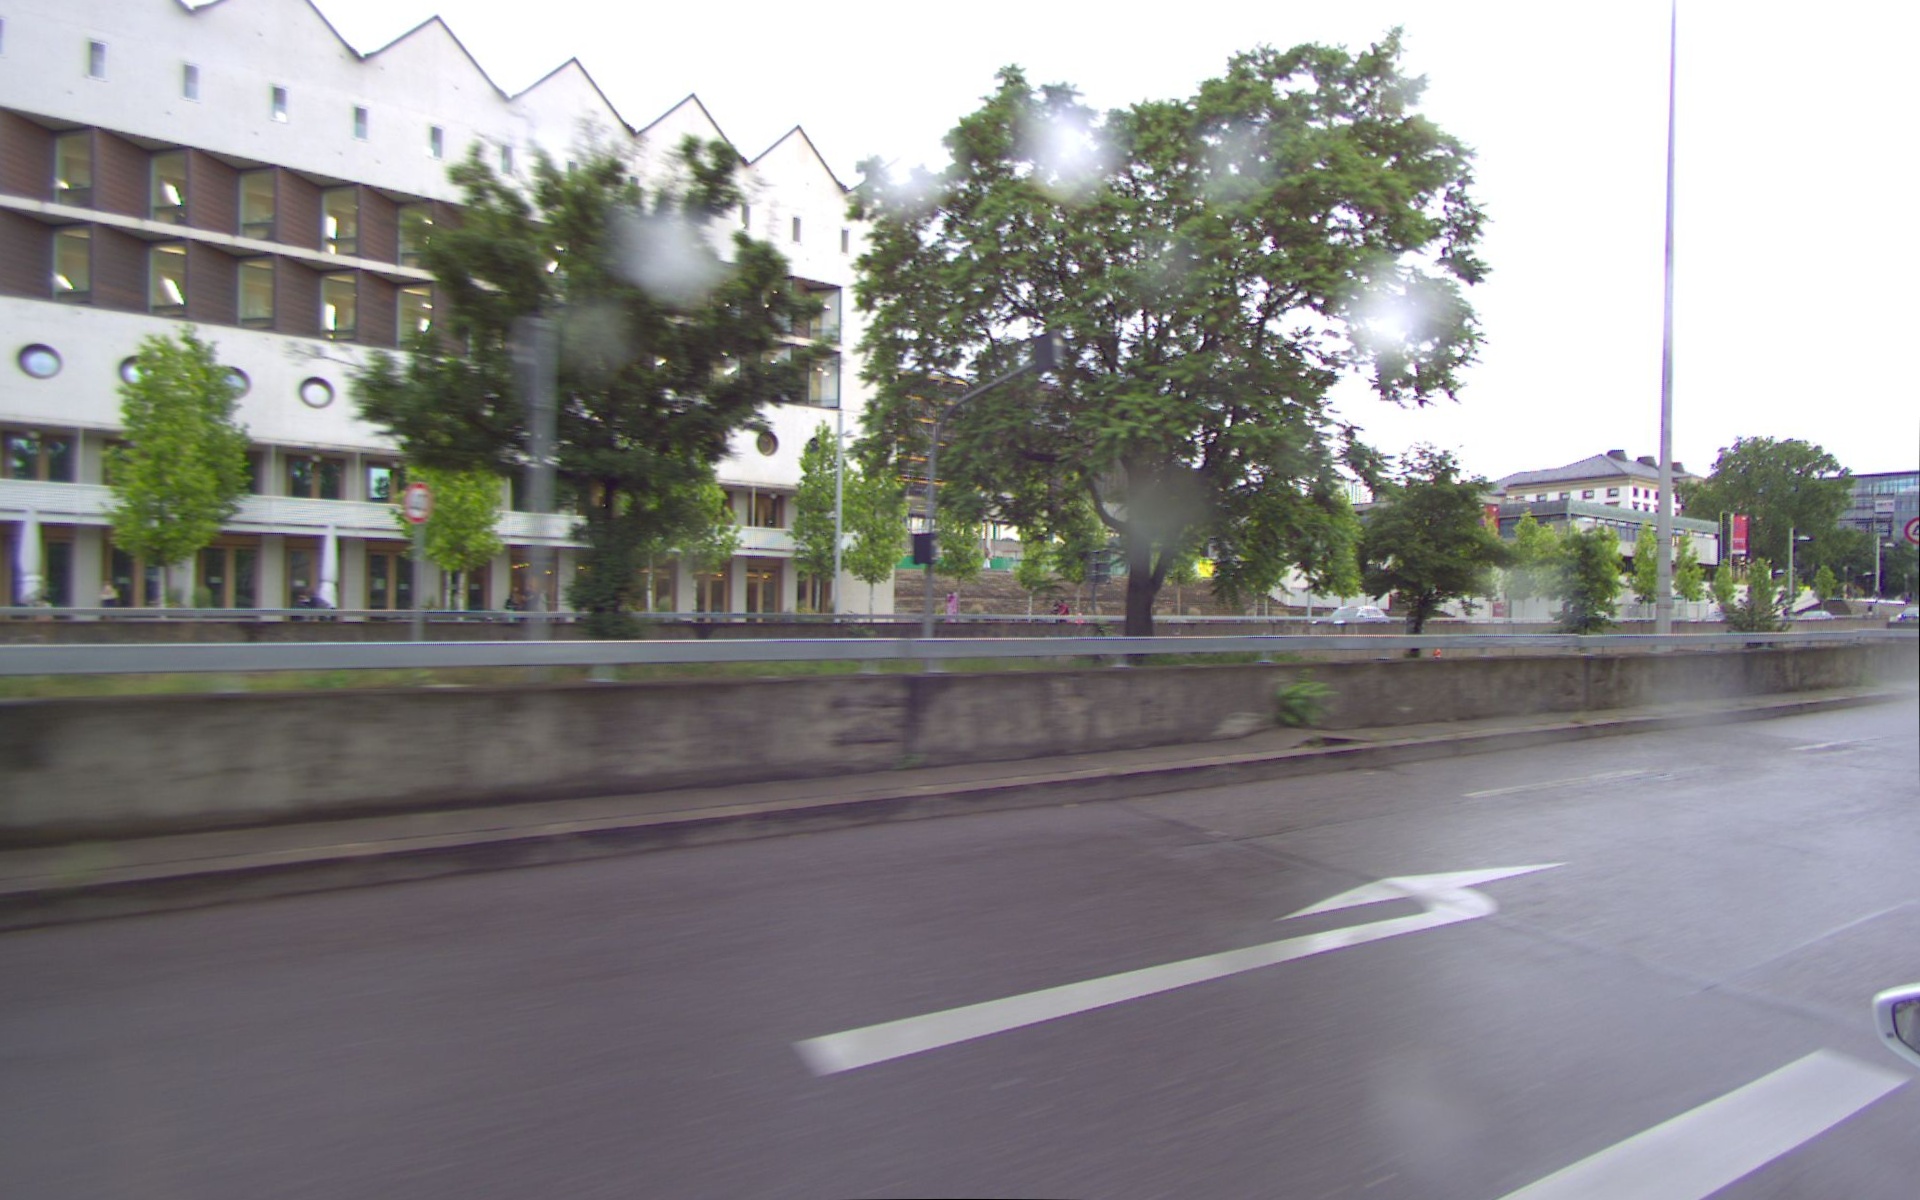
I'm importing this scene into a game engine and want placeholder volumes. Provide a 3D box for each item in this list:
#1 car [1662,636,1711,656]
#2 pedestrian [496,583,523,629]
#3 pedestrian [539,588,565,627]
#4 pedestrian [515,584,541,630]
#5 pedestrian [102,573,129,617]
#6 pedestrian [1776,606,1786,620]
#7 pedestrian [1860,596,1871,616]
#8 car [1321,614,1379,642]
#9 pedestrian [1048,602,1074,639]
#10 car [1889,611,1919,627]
[{"bbox_3d":[45.494,2.893,62.894,3.018,1.144,1.478,2,1,-33],"label":"car"},{"bbox_3d":[-18.735,0.248,41.802,0.687,1.883,0.741,2,1,11],"label":"pedestrian"},{"bbox_3d":[-17.688,0.313,43.582,0.689,1.649,0.738,2,1,32],"label":"pedestrian"},{"bbox_3d":[-18.337,0.295,42.619,0.687,1.883,0.741,2,1,11],"label":"pedestrian"},{"bbox_3d":[-29.674,-0.179,35.300,0.644,1.535,0.674,1,1,-35],"label":"pedestrian"},{"bbox_3d":[82.020,1.323,100.329,0.568,1.401,0.466,2,1,-23],"label":"pedestrian"},{"bbox_3d":[98.309,0.665,109.035,0.720,2.120,0.760,-6,5,-42],"label":"pedestrian"},{"bbox_3d":[18.871,1.359,48.550,2.796,1.295,1.284,2,1,-37],"label":"car"},{"bbox_3d":[5.242,1.068,52.234,0.821,1.891,1.078,1,1,-34],"label":"pedestrian"},{"bbox_3d":[91.215,1.830,96.999,2.930,1.459,1.456,2,1,-32],"label":"car"}]
